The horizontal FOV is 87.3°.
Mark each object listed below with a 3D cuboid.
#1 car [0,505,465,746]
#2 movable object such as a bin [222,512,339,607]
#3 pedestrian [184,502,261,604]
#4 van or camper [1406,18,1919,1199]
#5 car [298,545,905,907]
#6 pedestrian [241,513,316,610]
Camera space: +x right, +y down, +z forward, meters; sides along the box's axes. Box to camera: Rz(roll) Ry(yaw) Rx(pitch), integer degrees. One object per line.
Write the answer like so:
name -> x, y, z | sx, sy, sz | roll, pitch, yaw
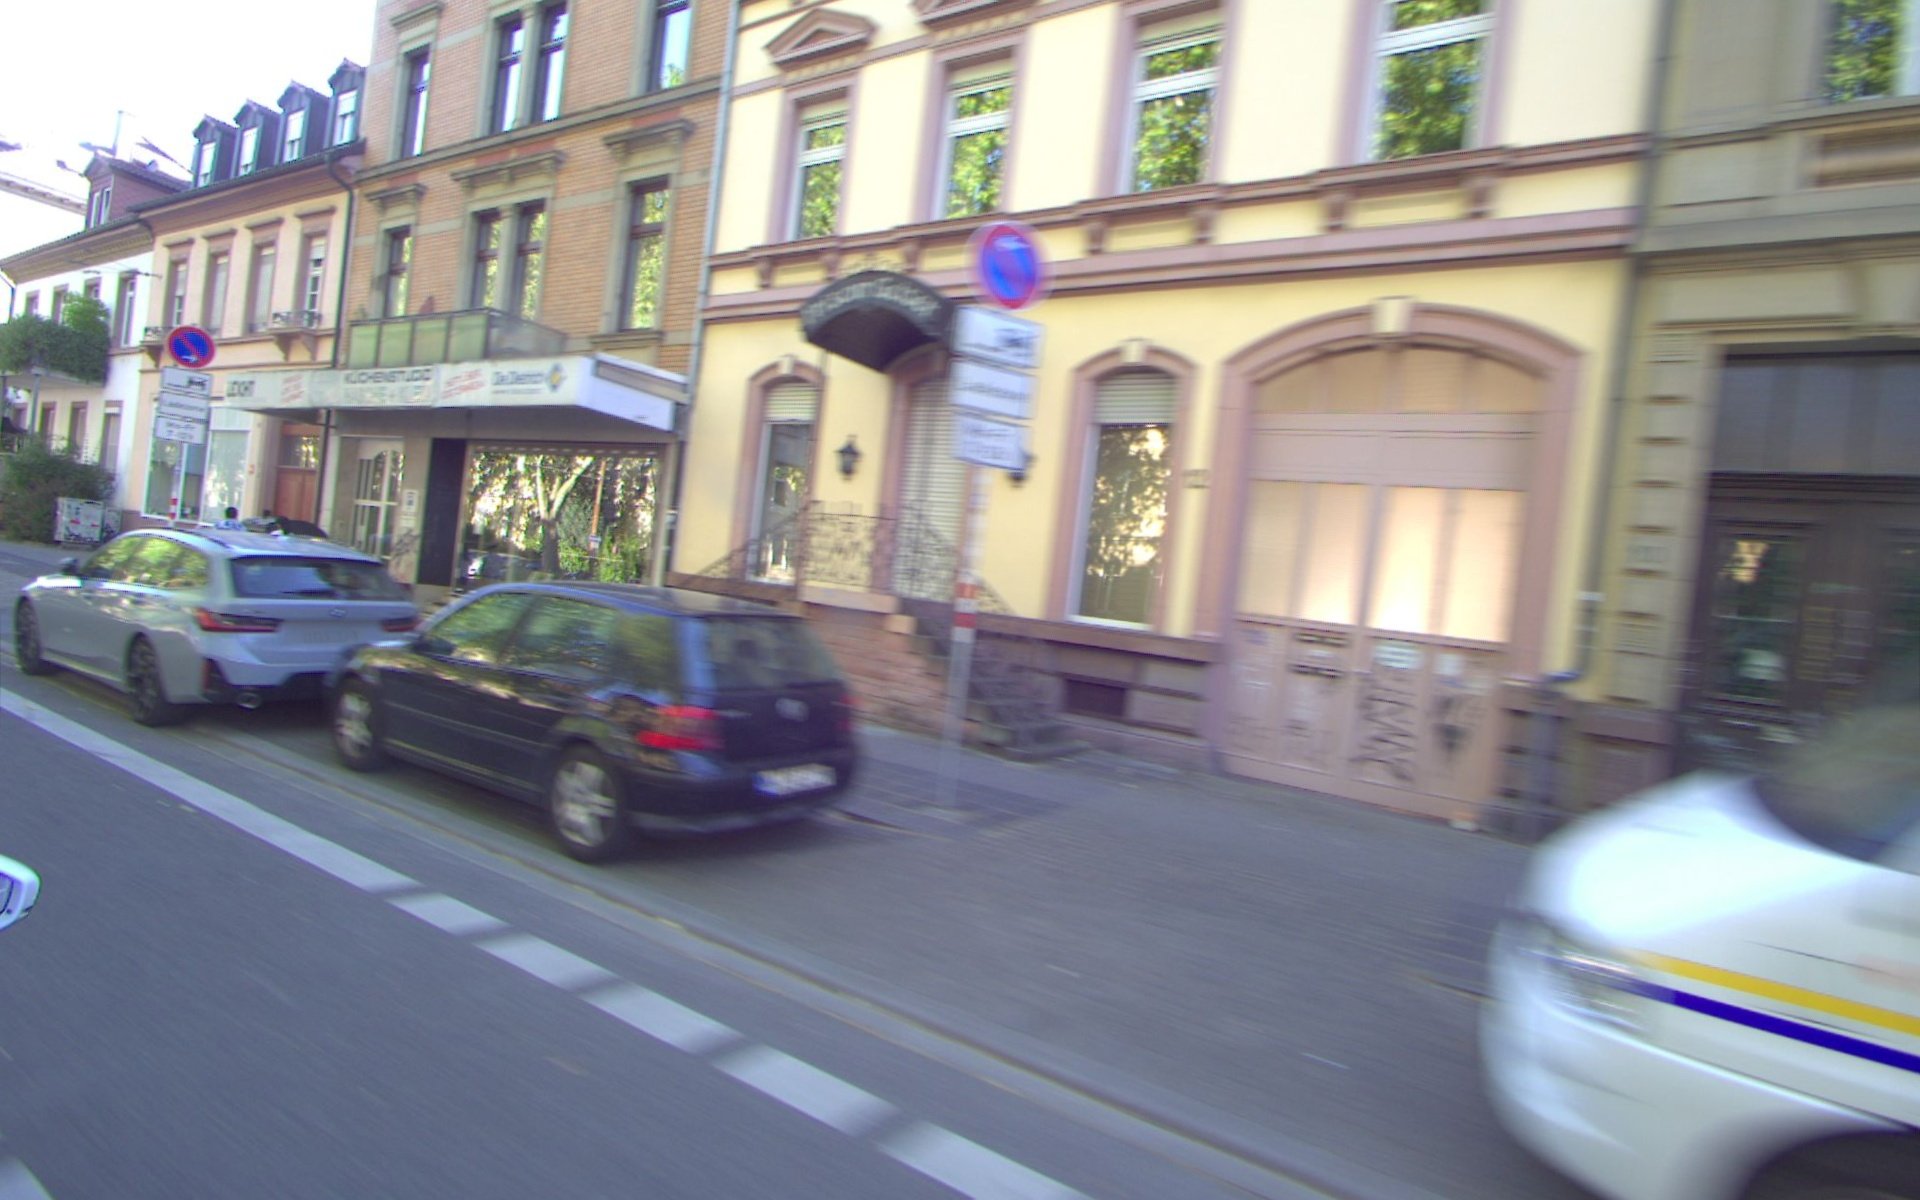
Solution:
car -> -6.533, 0.103, 8.804 | 4.590, 1.453, 1.810 | 6, 1, 33
movable object such as a bin -> -12.652, -0.748, 18.750 | 1.265, 1.539, 1.294 | 7, 0, 34
pedestrian -> -11.942, -0.757, 16.294 | 0.852, 1.524, 0.660 | 7, 1, 33
van or camper -> 5.116, 0.622, 1.326 | 7.760, 3.013, 2.475 | 6, 3, 35
car -> -2.455, 0.544, 6.464 | 3.966, 1.454, 1.643 | 6, 3, 35
pedestrian -> -11.485, -0.645, 16.957 | 0.772, 1.501, 0.658 | 7, 0, 33
